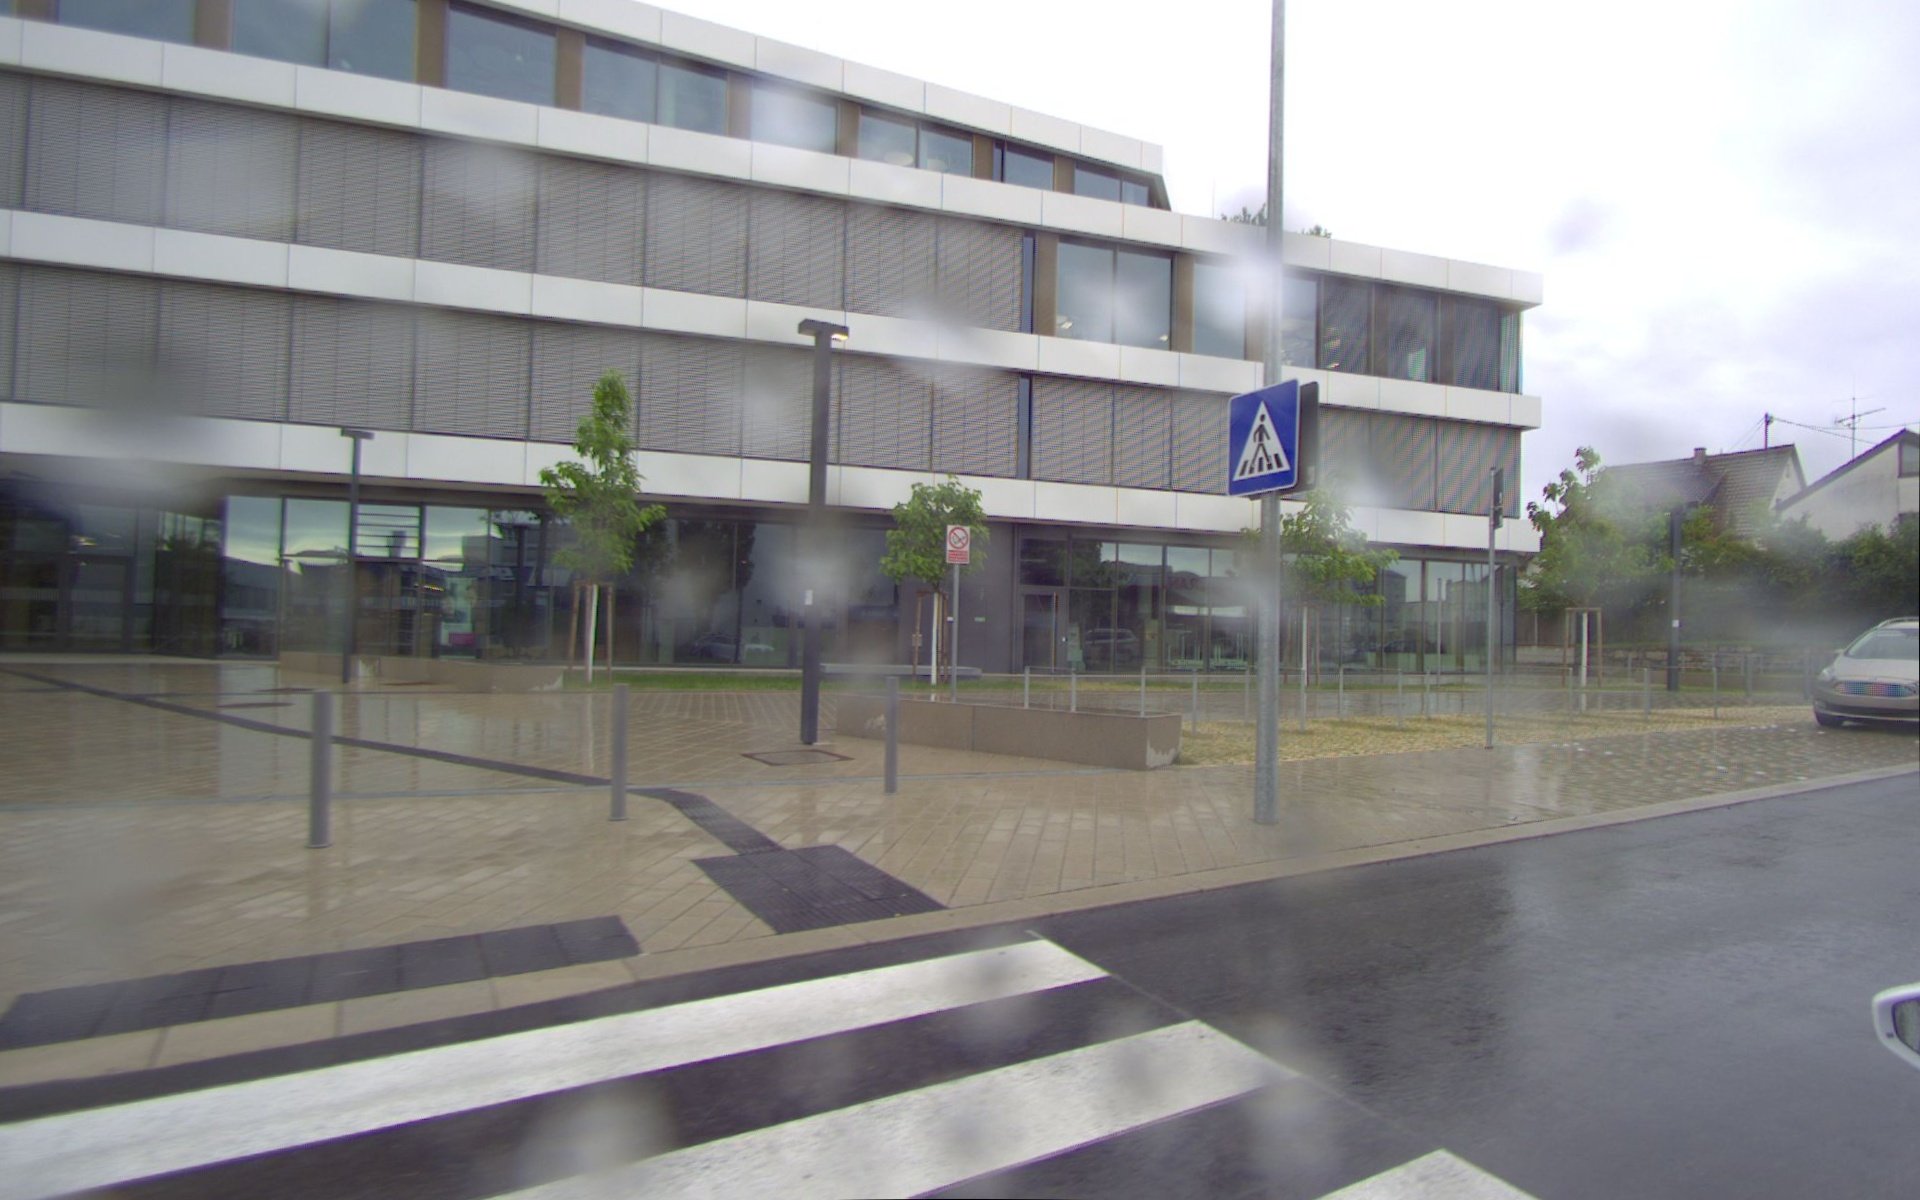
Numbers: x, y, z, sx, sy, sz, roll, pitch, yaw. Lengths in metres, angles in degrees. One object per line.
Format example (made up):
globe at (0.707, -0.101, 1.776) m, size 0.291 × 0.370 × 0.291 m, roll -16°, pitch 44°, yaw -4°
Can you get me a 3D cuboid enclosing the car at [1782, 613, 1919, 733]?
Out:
car at (14.598, 1.059, 15.259) m, size 4.105 × 1.650 × 1.984 m, roll 2°, pitch -2°, yaw -31°
